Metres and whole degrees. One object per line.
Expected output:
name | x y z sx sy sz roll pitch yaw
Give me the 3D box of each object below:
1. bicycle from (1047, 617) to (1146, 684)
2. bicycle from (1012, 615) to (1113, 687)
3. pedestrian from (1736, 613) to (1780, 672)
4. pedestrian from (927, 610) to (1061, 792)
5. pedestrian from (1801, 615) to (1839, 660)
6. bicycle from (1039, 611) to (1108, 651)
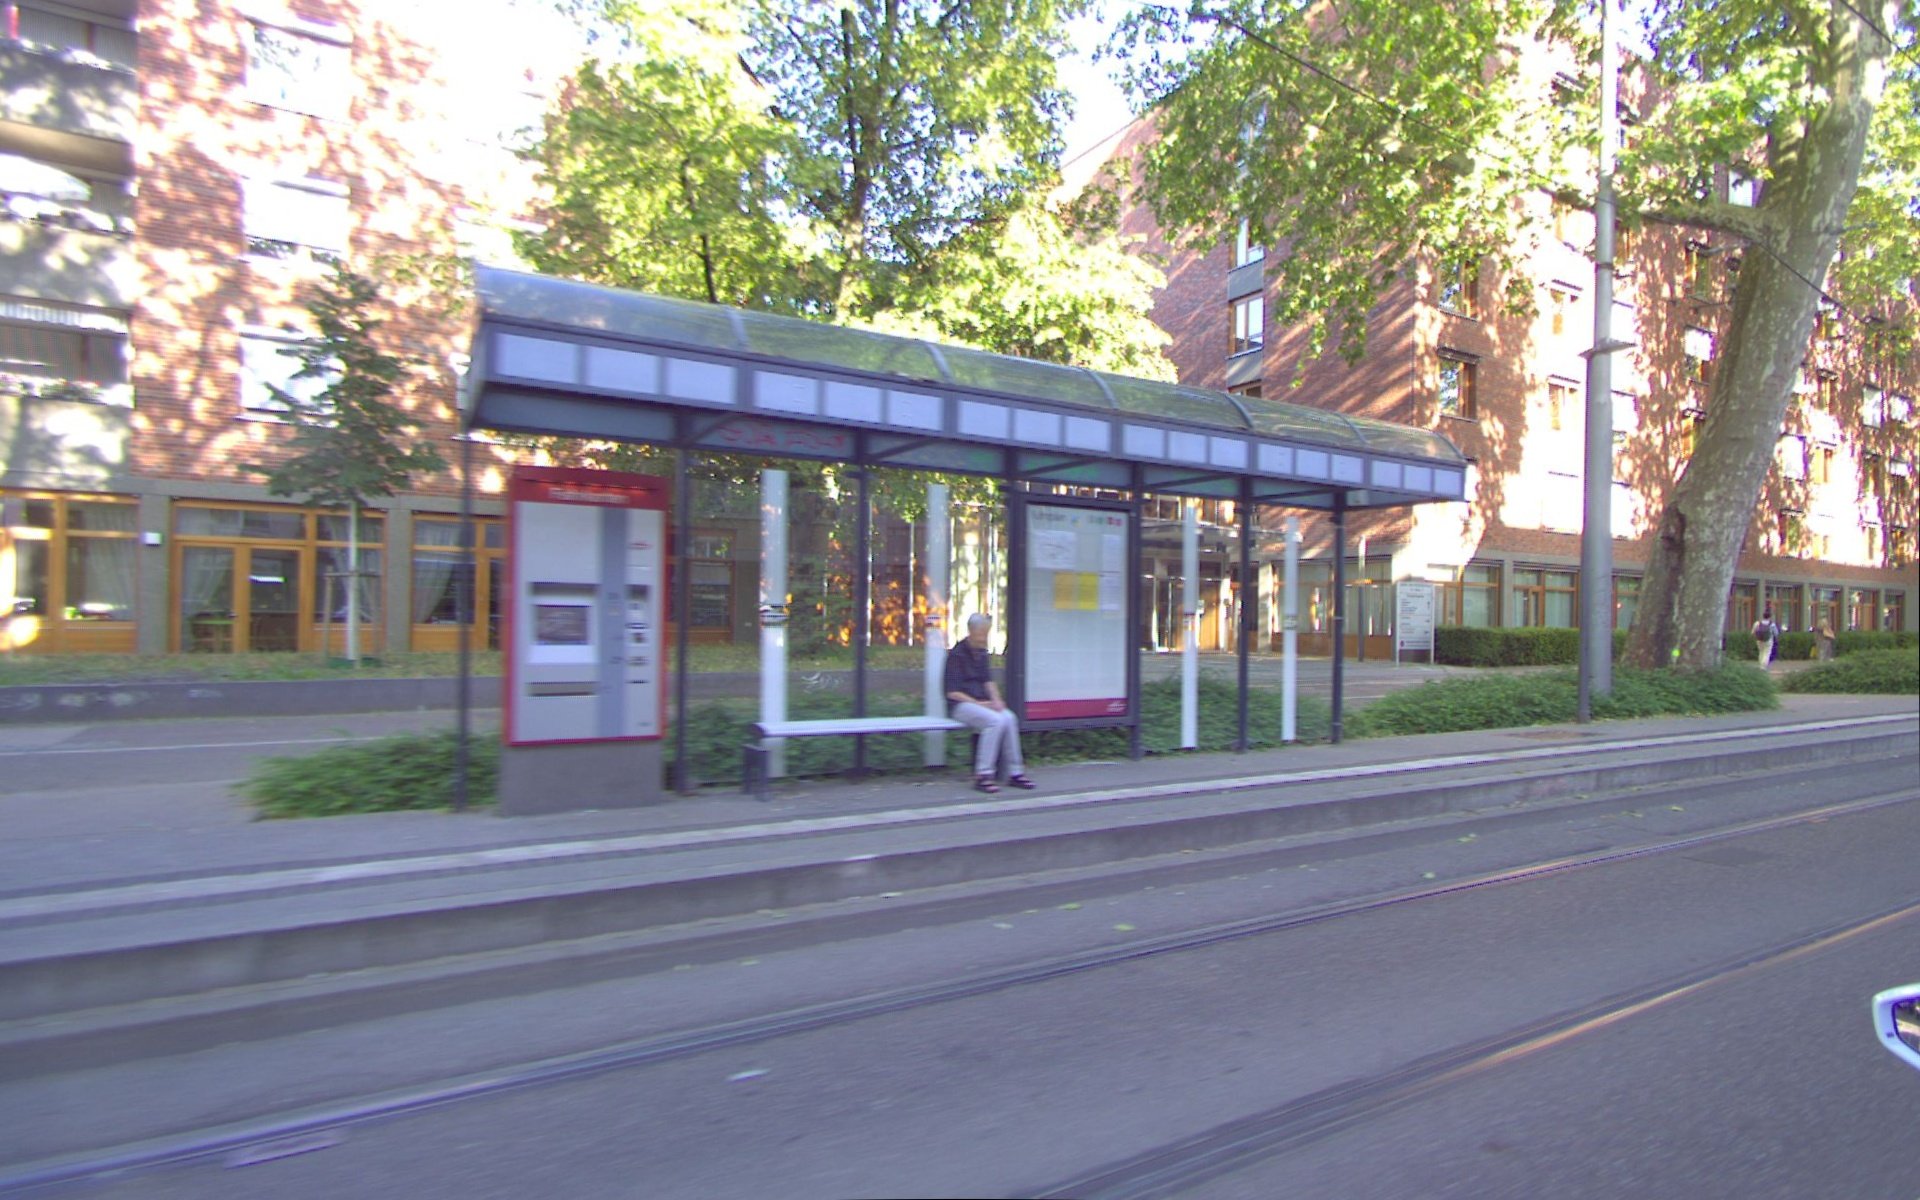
bicycle | 2.672 0.974 20.017 0.674 1.182 2.330 2 0 -29
bicycle | 1.967 0.964 19.730 0.674 1.235 2.447 2 1 -29
pedestrian | 23.644 1.246 29.760 0.850 1.694 0.732 2 0 -30
pedestrian | 0.233 0.673 7.030 0.652 1.184 0.701 2 -2 -33
pedestrian | 31.712 1.373 37.047 0.935 1.626 0.771 2 0 -30
bicycle | 3.261 0.886 29.027 1.920 1.087 0.760 1 0 45
